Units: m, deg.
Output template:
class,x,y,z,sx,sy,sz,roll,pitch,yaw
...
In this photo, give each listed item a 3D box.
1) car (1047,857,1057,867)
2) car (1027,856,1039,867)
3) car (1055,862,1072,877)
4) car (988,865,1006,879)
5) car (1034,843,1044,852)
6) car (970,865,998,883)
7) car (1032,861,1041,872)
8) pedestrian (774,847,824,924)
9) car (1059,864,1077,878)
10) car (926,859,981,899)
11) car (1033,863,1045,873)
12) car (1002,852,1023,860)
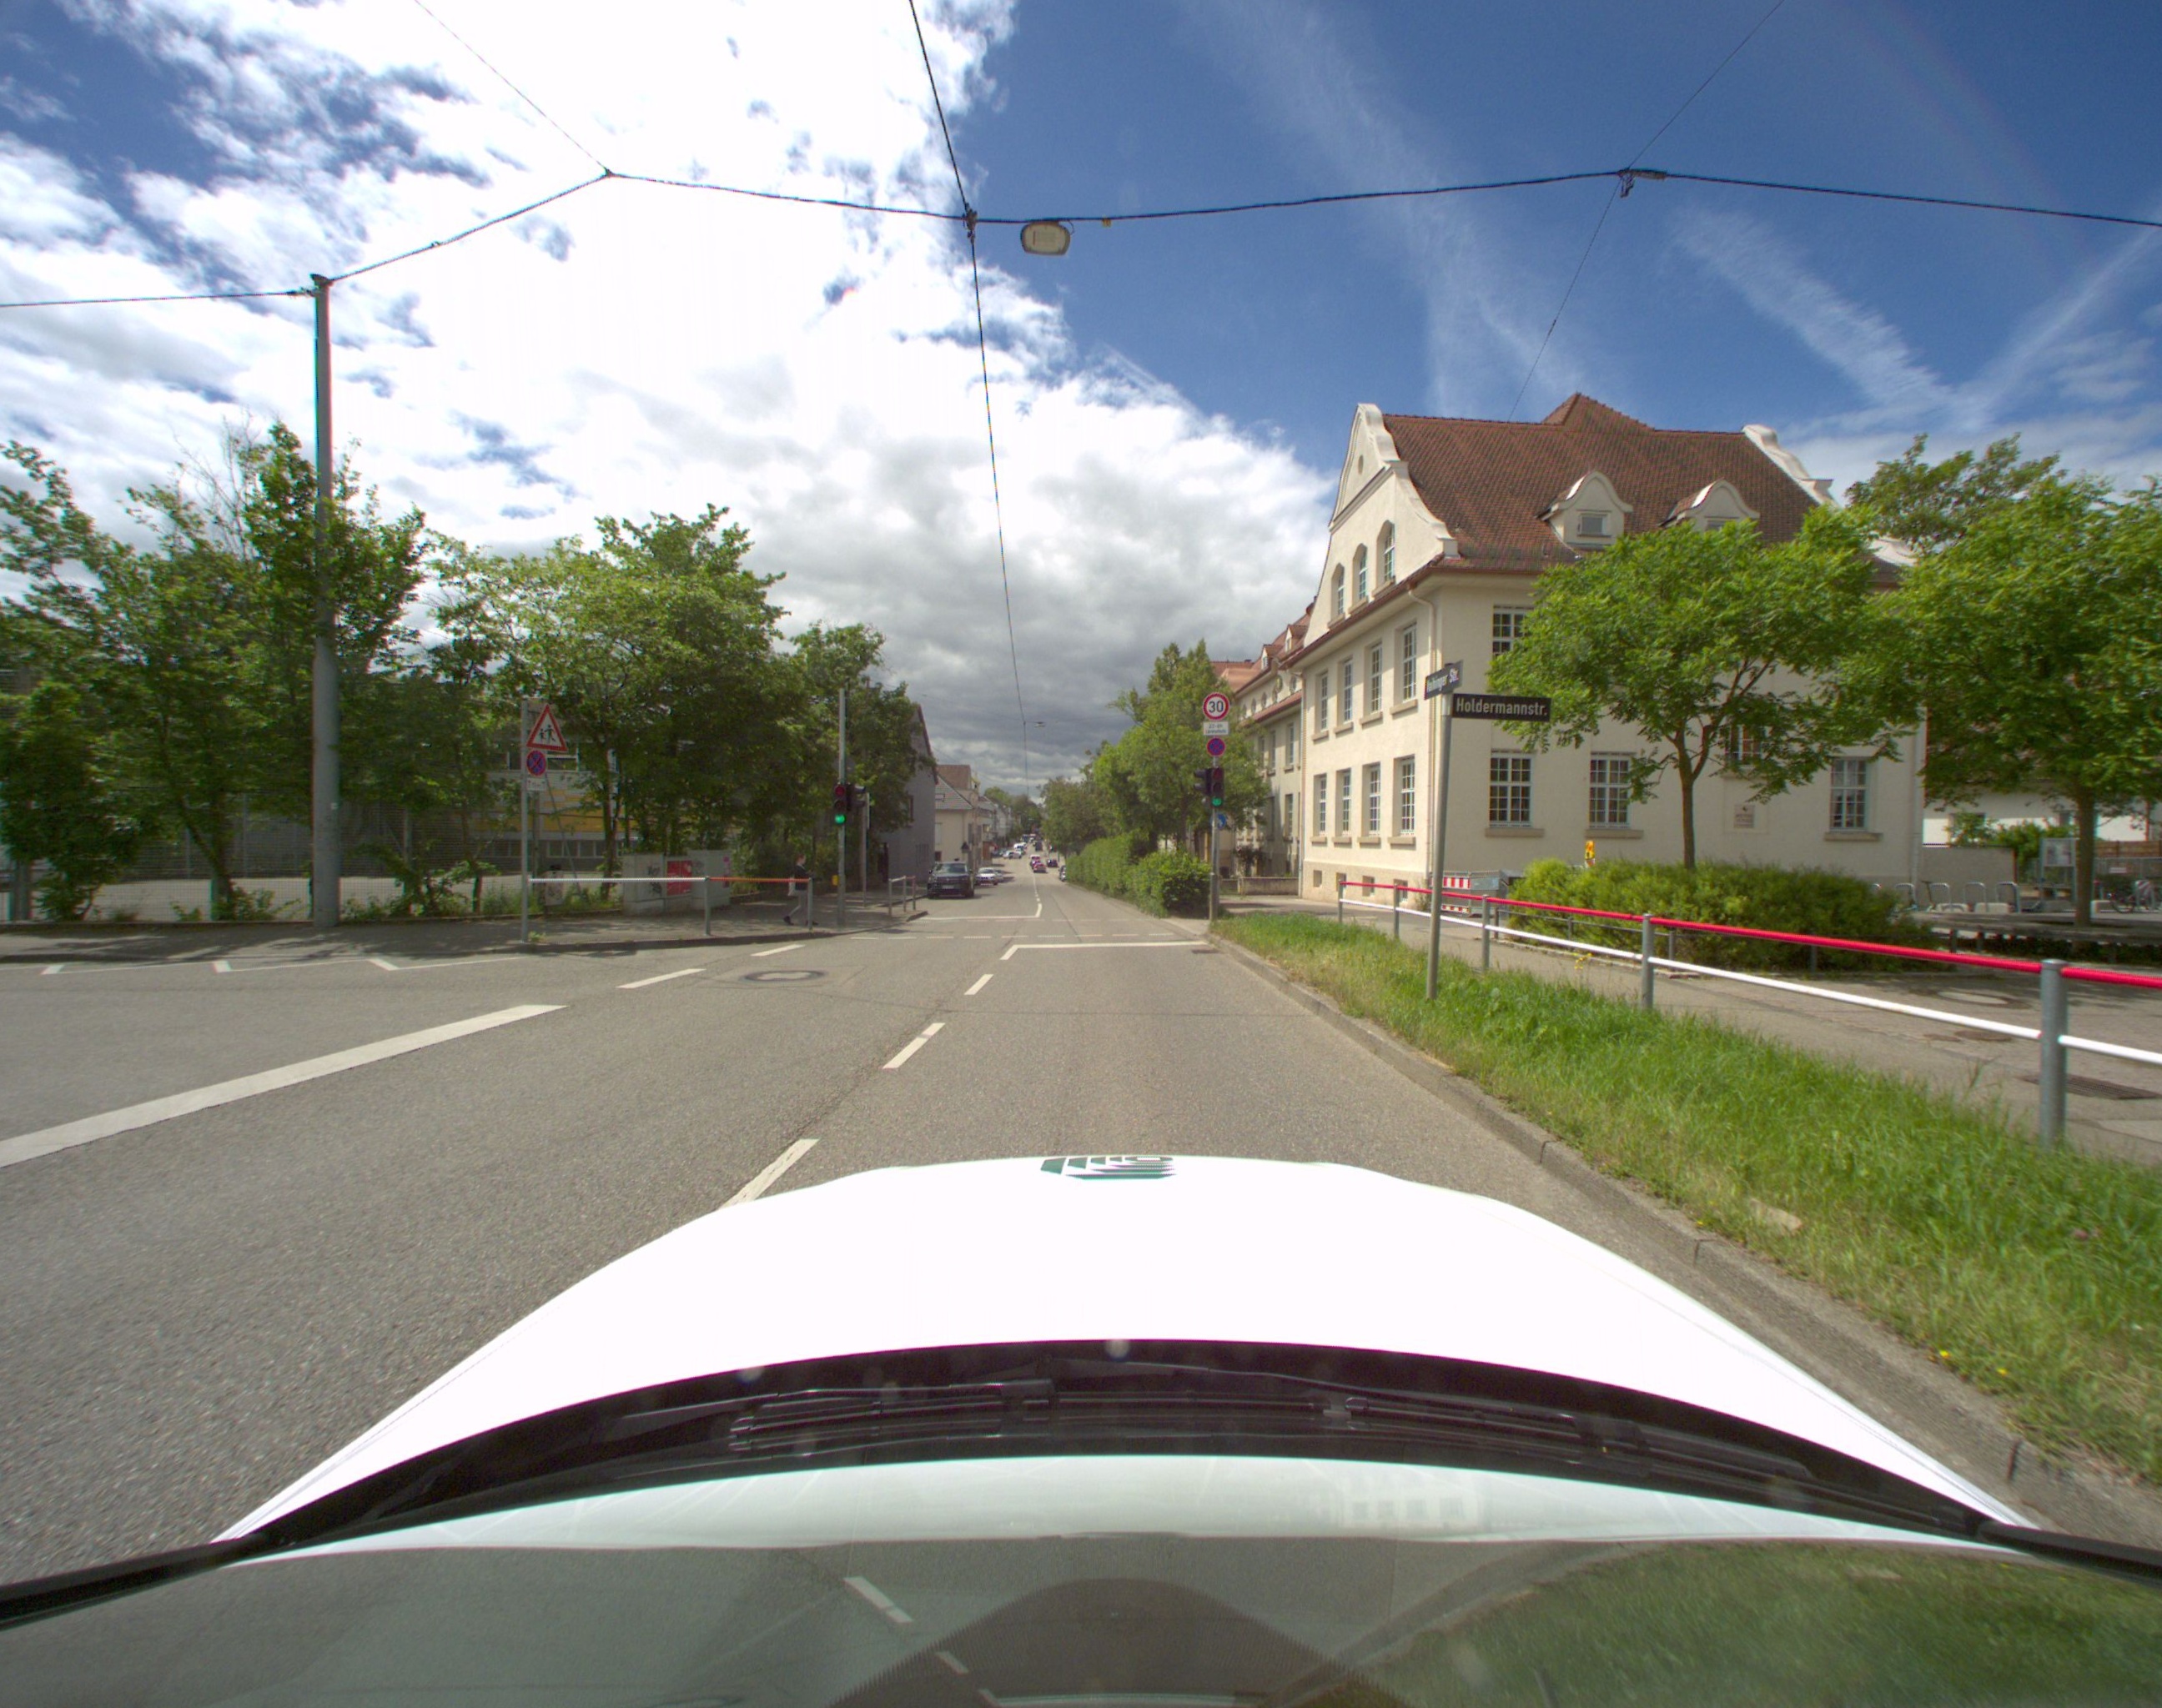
class,x,y,z,sx,sy,sz,roll,pitch,yaw
car,-4.937,1.345,138.845,1.748,1.370,3.998,1,2,-2
car,-8.377,1.385,142.050,1.834,1.862,3.841,1,-1,-7
car,-2.099,1.880,98.482,1.840,1.768,4.509,1,-1,-4
car,-8.955,1.908,87.080,1.644,1.419,3.693,1,-1,-4
car,-11.485,-1.722,222.559,2.431,2.318,5.319,2,0,-4
car,-8.216,1.664,68.852,1.701,1.390,3.844,0,0,-17
car,-7.233,2.008,132.182,1.271,1.527,3.046,0,3,-4
pedestrian,-5.993,0.657,17.304,0.776,1.597,0.664,2,-1,-39
car,-1.498,1.927,92.657,1.782,1.509,4.358,1,-1,-4
car,-5.522,1.045,35.720,1.790,1.610,4.642,0,0,-2
car,-6.380,2.126,123.002,1.740,1.417,3.995,0,0,-4
car,-13.982,0.458,166.234,1.766,1.492,4.023,1,-1,44
